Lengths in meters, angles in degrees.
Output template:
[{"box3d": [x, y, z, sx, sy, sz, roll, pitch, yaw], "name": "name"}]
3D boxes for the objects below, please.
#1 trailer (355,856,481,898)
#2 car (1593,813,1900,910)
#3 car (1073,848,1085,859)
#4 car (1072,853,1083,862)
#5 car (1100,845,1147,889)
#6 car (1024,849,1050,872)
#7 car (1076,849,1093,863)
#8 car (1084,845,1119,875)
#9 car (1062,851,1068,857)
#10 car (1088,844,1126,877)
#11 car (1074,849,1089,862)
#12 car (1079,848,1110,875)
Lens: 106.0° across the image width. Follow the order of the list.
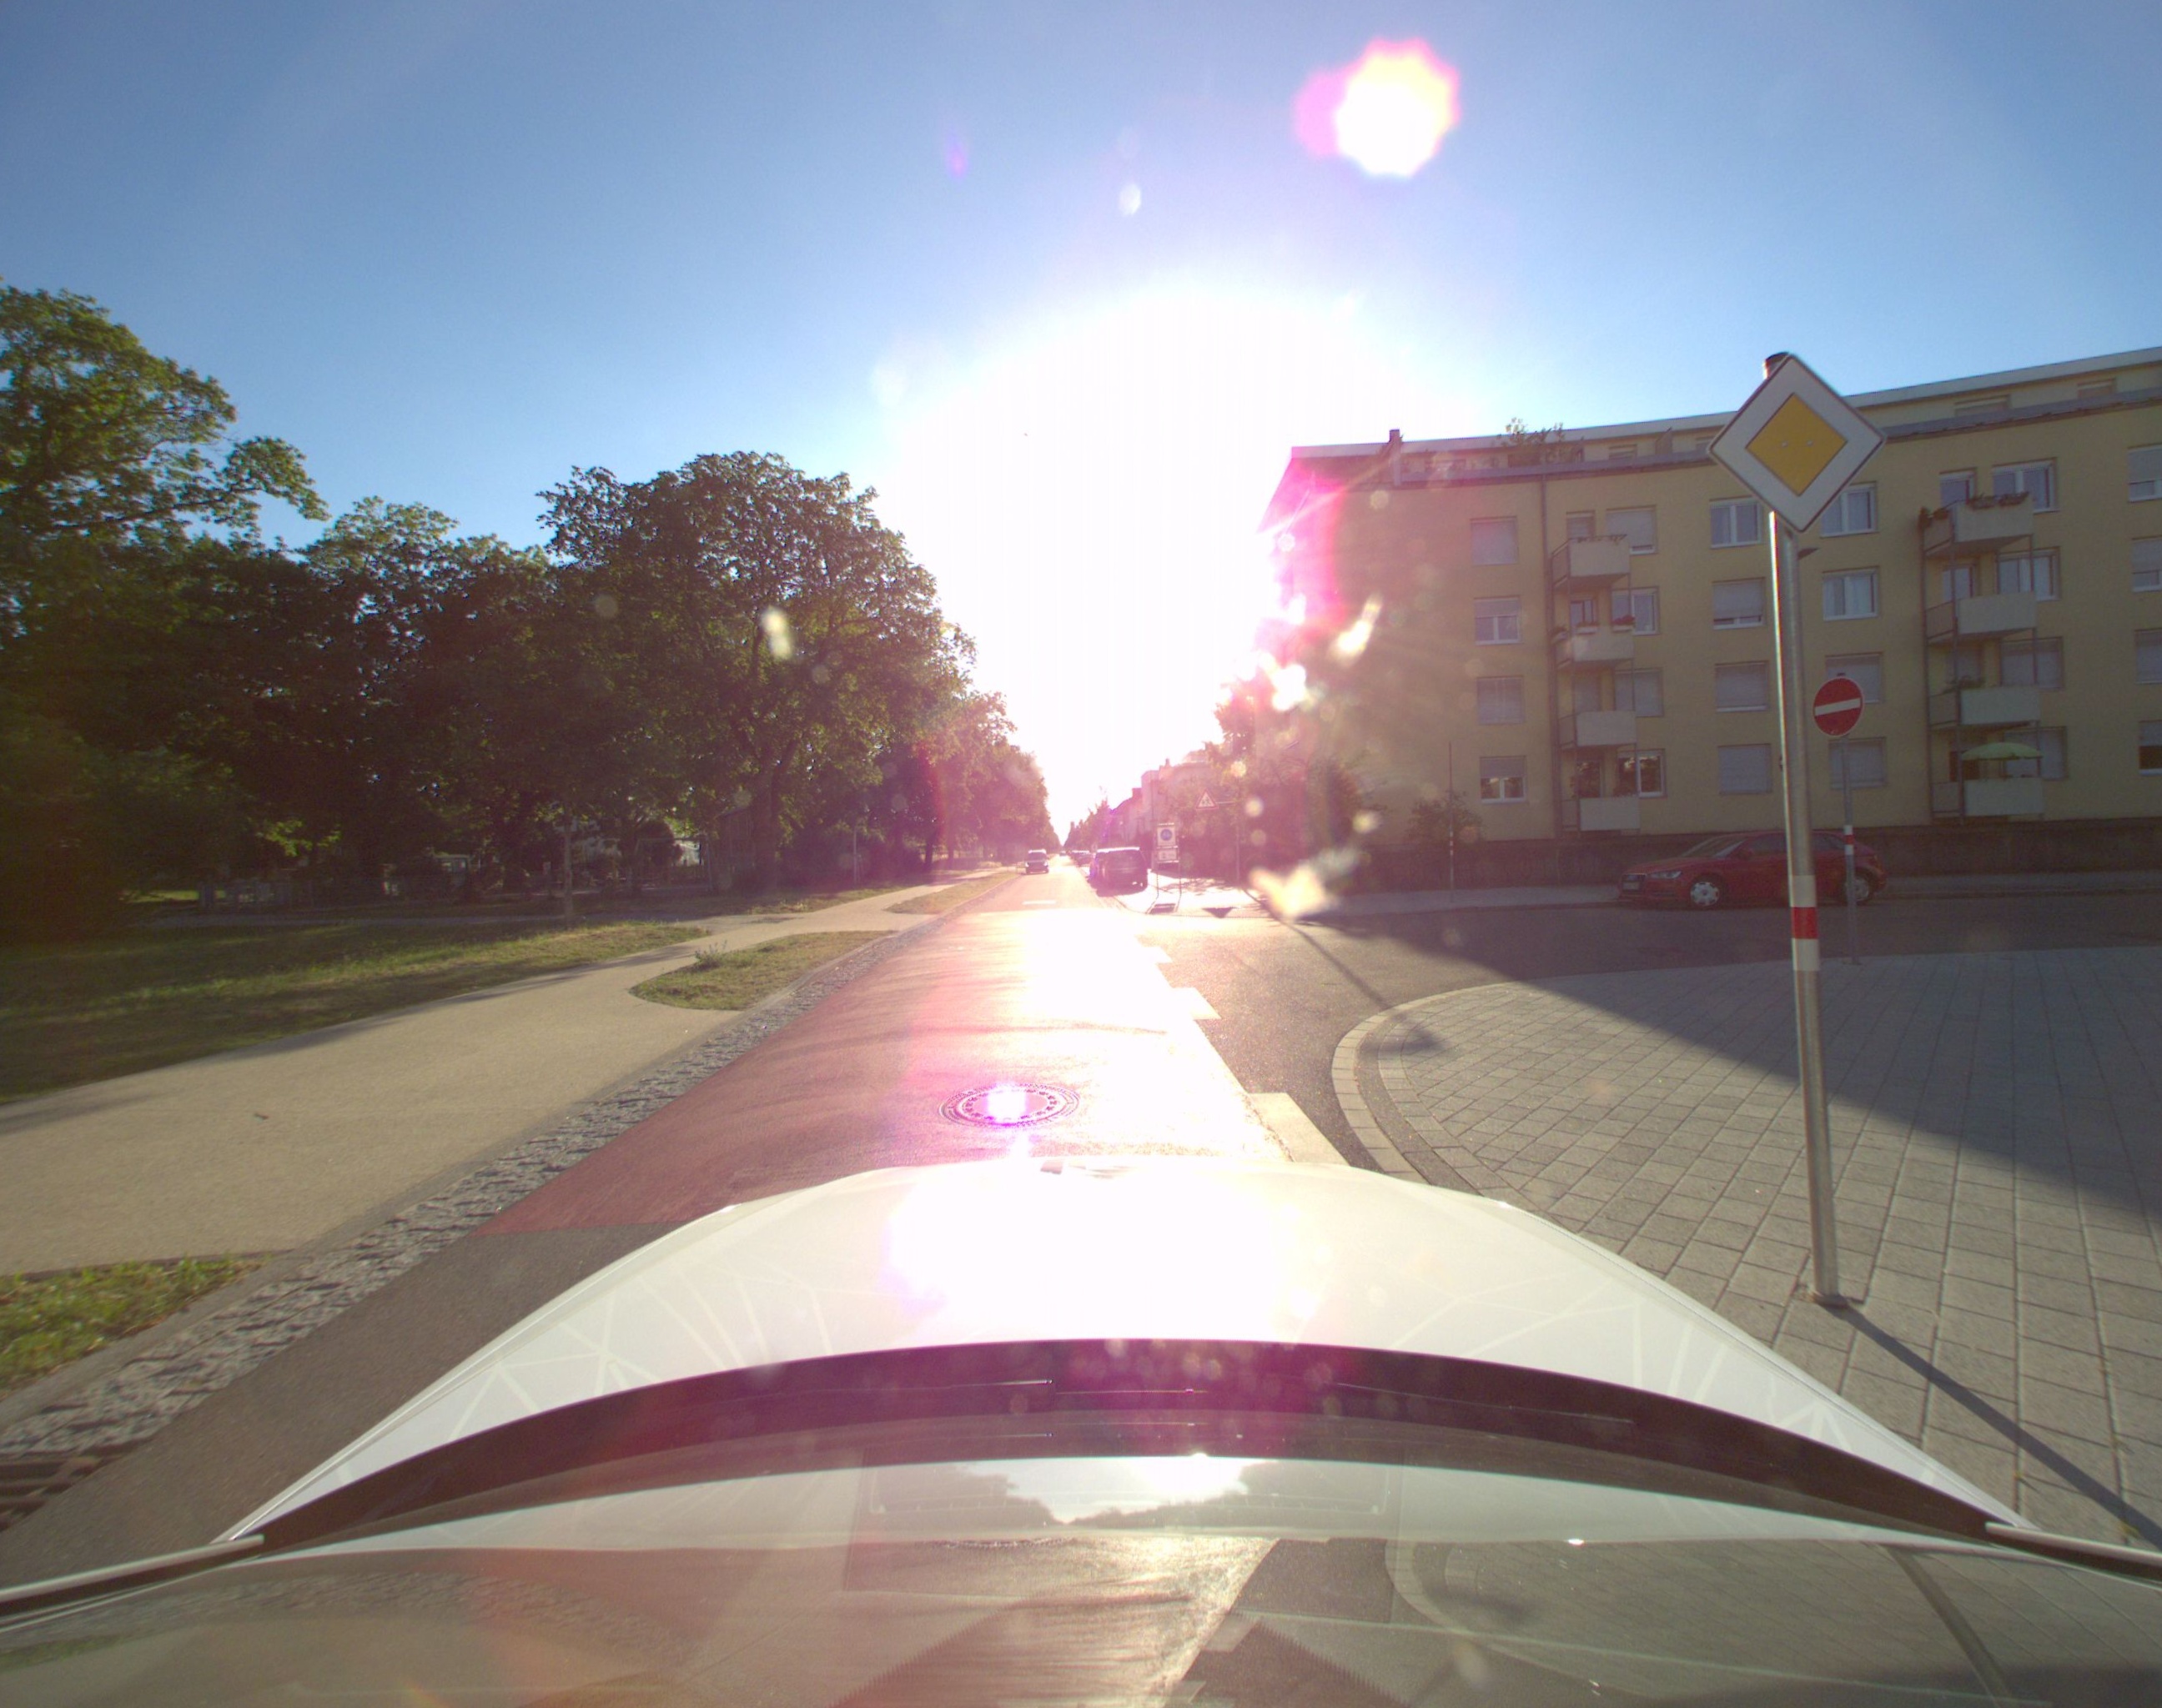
[{"box3d": [-43.320, 1.416, 53.566, 2.452, 2.489, 7.048, -3, 0, 0], "name": "trailer"}, {"box3d": [12.586, 0.136, 15.655, 4.178, 1.530, 2.002, -3, 0, 3], "name": "car"}, {"box3d": [-0.320, -0.072, 119.797, 1.622, 1.409, 4.247, -3, 0, -1], "name": "car"}, {"box3d": [-0.570, 0.629, 136.032, 1.622, 1.409, 4.247, -3, 0, -1], "name": "car"}, {"box3d": [1.754, 0.509, 34.755, 1.622, 1.669, 4.247, -3, 0, -1], "name": "car"}, {"box3d": [-3.482, 0.483, 64.793, 1.821, 1.669, 4.247, -3, 0, -2], "name": "car"}, {"box3d": [0.360, 0.257, 88.152, 1.622, 1.409, 4.247, -3, 0, -1], "name": "car"}, {"box3d": [1.287, 0.355, 50.591, 1.986, 1.717, 4.002, -3, 0, 2], "name": "car"}, {"box3d": [-4.764, -0.068, 237.154, 1.622, 1.669, 4.247, -3, 0, -1], "name": "car"}, {"box3d": [1.471, 0.354, 45.884, 1.986, 1.717, 4.002, -3, 0, 2], "name": "car"}, {"box3d": [0.054, 0.183, 99.813, 1.622, 1.409, 4.247, -3, 0, -1], "name": "car"}, {"box3d": [0.975, 0.524, 56.879, 1.986, 1.717, 4.002, -3, 0, 2], "name": "car"}]
